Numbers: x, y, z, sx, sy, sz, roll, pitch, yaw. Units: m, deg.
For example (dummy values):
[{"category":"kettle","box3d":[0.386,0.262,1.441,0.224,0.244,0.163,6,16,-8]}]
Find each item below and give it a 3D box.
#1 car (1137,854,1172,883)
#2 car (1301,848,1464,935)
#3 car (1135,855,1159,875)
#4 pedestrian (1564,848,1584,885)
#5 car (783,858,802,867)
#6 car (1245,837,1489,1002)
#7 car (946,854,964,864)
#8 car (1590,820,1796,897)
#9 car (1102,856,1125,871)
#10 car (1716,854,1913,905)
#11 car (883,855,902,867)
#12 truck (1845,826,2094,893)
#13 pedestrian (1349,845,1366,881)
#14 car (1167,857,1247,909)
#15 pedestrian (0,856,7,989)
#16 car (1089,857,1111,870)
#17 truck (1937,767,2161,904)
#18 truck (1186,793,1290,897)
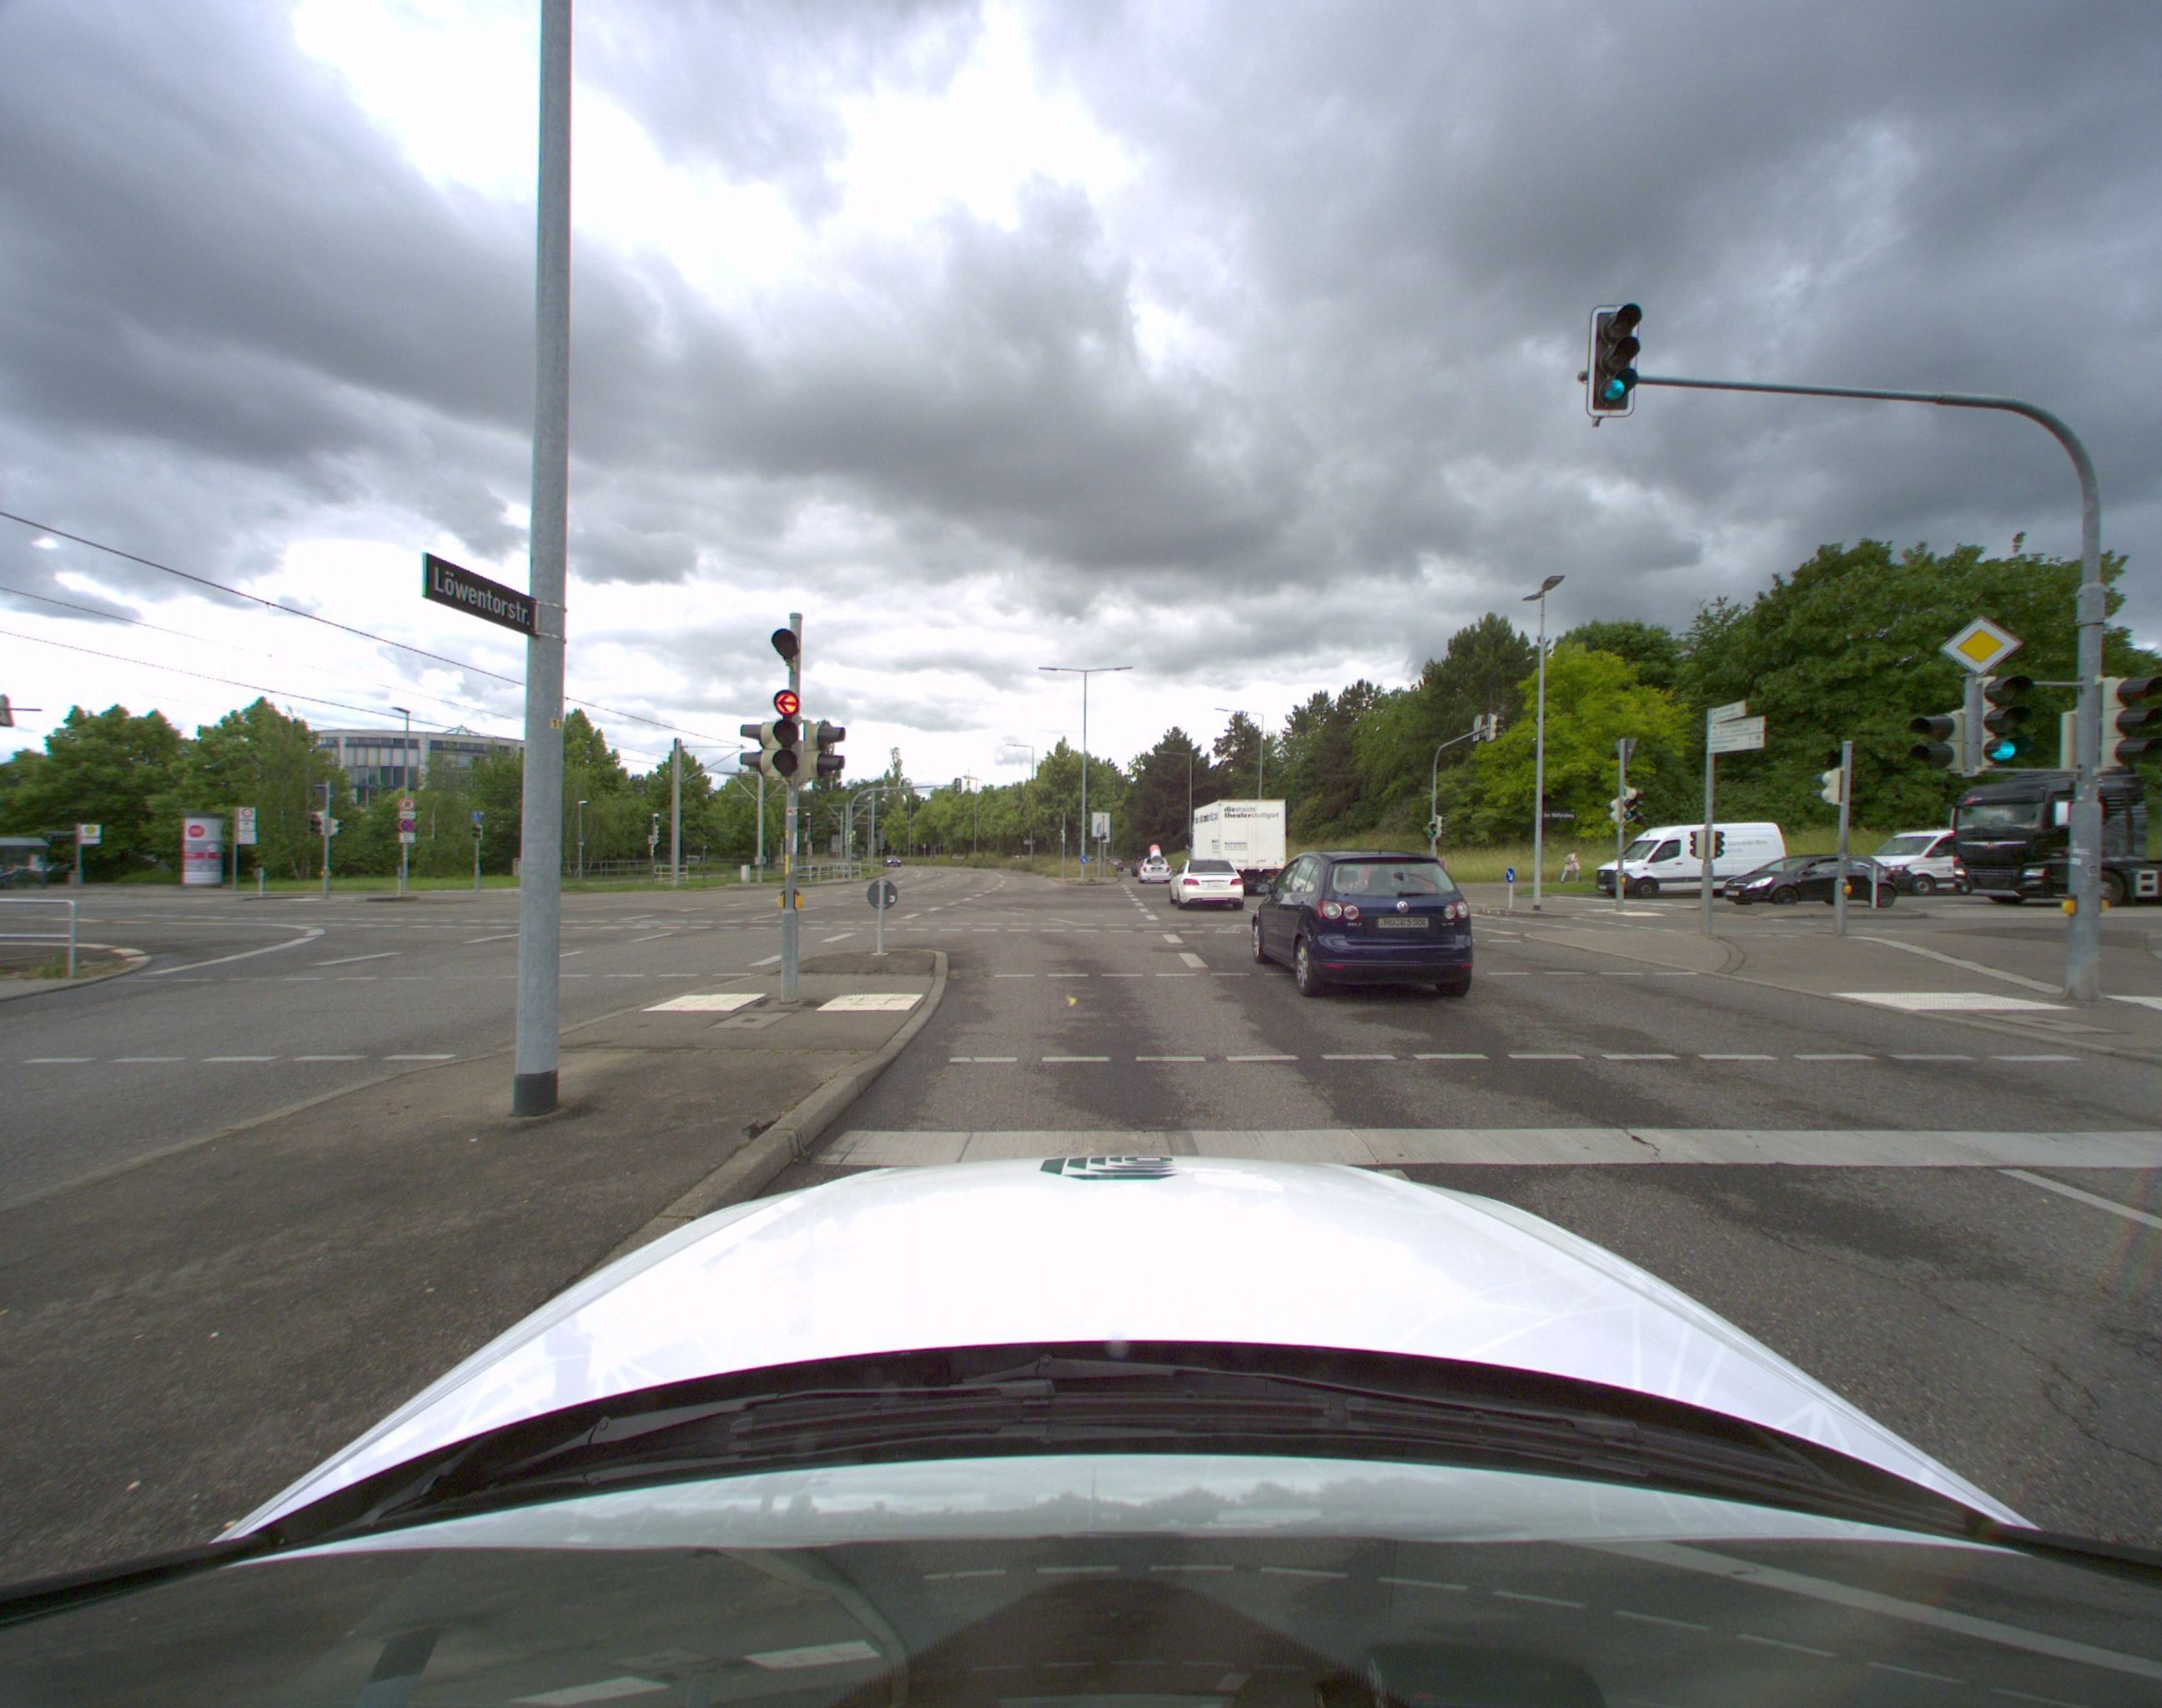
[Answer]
[{"category":"car","box3d":[4.090,0.785,45.607,1.814,1.506,3.496,0,0,2]},{"category":"car","box3d":[5.952,0.660,16.667,1.840,1.530,4.378,0,0,2]},{"category":"car","box3d":[5.032,0.836,62.457,1.618,1.493,3.838,0,0,1]},{"category":"pedestrian","box3d":[21.475,0.547,35.469,0.638,1.612,0.718,-1,-1,26]},{"category":"car","box3d":[-55.616,1.595,156.939,3.950,1.791,1.888,-1,-1,44]},{"category":"car","box3d":[3.184,0.656,9.930,1.658,1.598,3.997,0,-1,1]},{"category":"car","box3d":[-21.528,0.837,139.326,1.639,1.711,3.763,0,-1,-34]},{"category":"car","box3d":[21.920,0.163,29.378,5.780,2.630,2.002,0,-1,3]},{"category":"car","box3d":[3.309,0.972,83.778,1.745,1.508,4.037,0,0,-8]},{"category":"car","box3d":[20.329,0.698,22.703,3.859,1.338,1.698,0,-1,4]},{"category":"car","box3d":[-26.554,0.962,114.527,1.804,1.587,3.965,0,-1,-26]},{"category":"truck","box3d":[30.976,0.205,28.578,5.992,2.230,2.165,0,-1,5]},{"category":"pedestrian","box3d":[12.855,0.437,37.905,0.640,1.662,0.715,0,-1,8]},{"category":"car","box3d":[3.686,0.819,24.458,1.793,1.412,4.317,0,-1,1]},{"category":"pedestrian","box3d":[-12.781,0.793,9.081,0.632,1.536,0.719,0,-1,-2]},{"category":"car","box3d":[2.169,1.061,95.022,1.747,1.508,3.985,0,0,-11]},{"category":"truck","box3d":[27.983,-0.490,22.295,5.971,3.486,2.694,-1,-1,4]},{"category":"truck","box3d":[6.567,-0.358,35.798,2.793,3.903,10.184,0,0,1]}]
